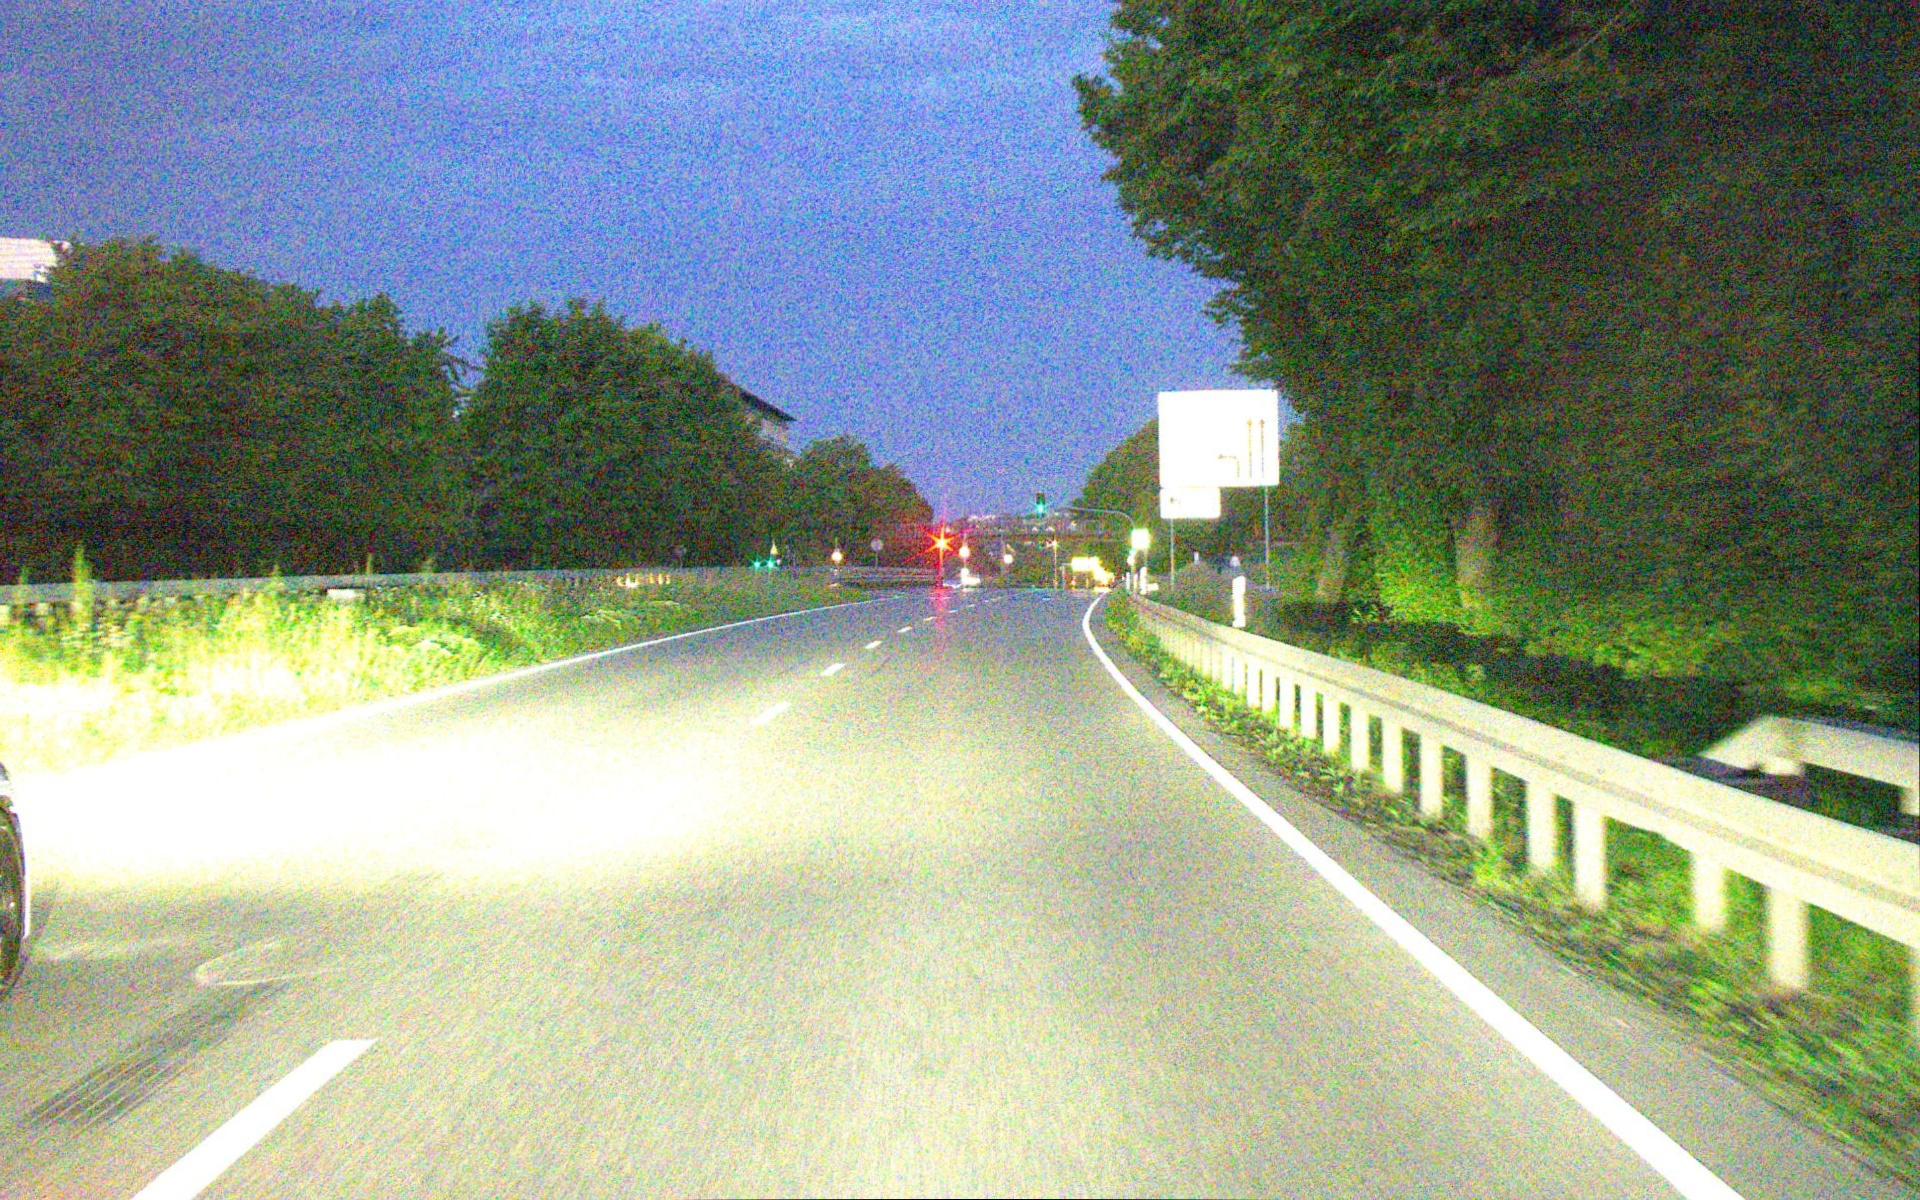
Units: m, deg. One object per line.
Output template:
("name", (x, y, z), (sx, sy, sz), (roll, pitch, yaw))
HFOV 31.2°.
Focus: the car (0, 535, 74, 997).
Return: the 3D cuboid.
("car", (-3.867, 0.545, 9.670), (1.642, 1.485, 4.580), (1, 1, -1))
